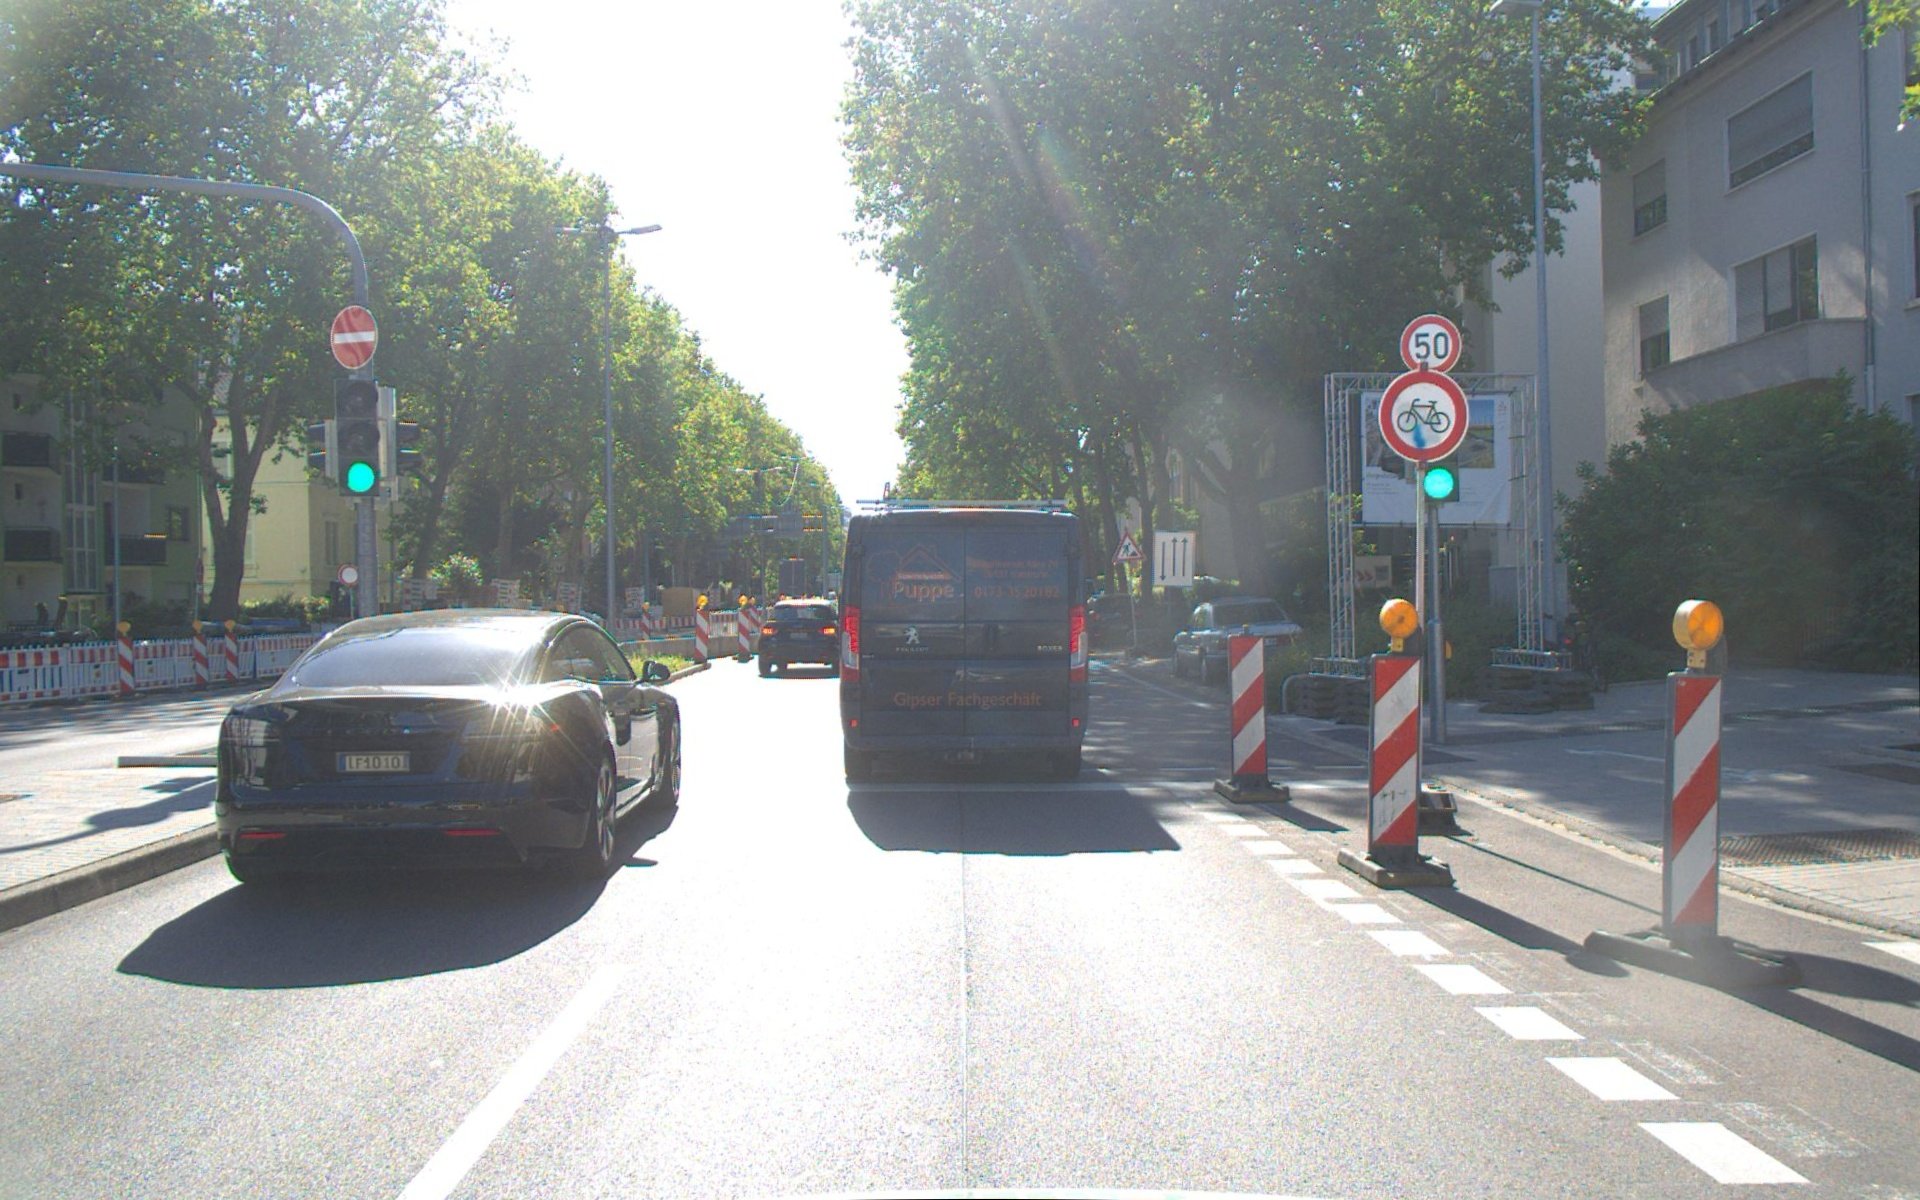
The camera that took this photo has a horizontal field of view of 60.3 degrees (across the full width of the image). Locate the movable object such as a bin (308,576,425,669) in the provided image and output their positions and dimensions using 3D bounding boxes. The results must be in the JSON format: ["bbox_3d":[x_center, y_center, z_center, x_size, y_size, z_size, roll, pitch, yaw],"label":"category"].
[{"bbox_3d":[-18.686,0.678,52.333,2.104,2.753,5.349,-1,0,-5],"label":"movable object such as a bin"}]

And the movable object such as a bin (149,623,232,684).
[{"bbox_3d":[-18.048,1.252,38.812,1.381,1.361,1.157,-1,0,0],"label":"movable object such as a bin"}]

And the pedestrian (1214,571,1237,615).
[{"bbox_3d":[10.173,-0.272,63.453,0.692,1.677,0.674,1,2,-5],"label":"pedestrian"}]

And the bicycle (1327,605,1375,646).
[{"bbox_3d":[9.696,0.624,41.056,0.766,0.983,1.823,-1,0,0],"label":"bicycle"}]

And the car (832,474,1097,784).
[{"bbox_3d":[0.018,0.199,14.827,2.052,2.396,3.932,0,1,-1],"label":"car"}]

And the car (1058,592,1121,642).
[{"bbox_3d":[4.185,0.543,53.938,1.624,1.567,4.127,0,0,-2],"label":"car"}]

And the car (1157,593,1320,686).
[{"bbox_3d":[4.889,0.645,29.738,1.815,1.505,4.939,-1,0,-3],"label":"car"}]

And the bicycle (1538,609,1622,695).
[{"bbox_3d":[7.945,0.636,21.131,0.577,1.022,2.126,-1,0,32],"label":"bicycle"}]

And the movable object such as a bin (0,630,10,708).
[{"bbox_3d":[-18.009,1.268,29.466,1.091,1.412,1.855,-1,0,0],"label":"movable object such as a bin"}]

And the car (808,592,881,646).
[{"bbox_3d":[-3.353,0.547,48.781,1.872,1.469,4.601,-2,0,-1],"label":"car"}]

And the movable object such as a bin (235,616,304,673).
[{"bbox_3d":[-18.393,1.170,44.045,1.611,1.447,1.251,-1,0,-28],"label":"movable object such as a bin"}]

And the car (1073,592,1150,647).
[{"bbox_3d":[4.429,0.560,48.955,1.728,1.534,4.249,-1,0,-2],"label":"car"}]

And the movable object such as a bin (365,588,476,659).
[{"bbox_3d":[-18.985,0.791,58.505,1.952,2.318,5.599,-2,0,1],"label":"movable object such as a bin"}]

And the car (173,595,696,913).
[{"bbox_3d":[-2.836,0.715,10.105,1.886,1.436,4.623,-1,0,-3],"label":"car"}]

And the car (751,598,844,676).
[{"bbox_3d":[-3.226,0.703,33.349,1.711,1.432,3.997,0,1,-4],"label":"car"}]

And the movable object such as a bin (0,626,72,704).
[{"bbox_3d":[-18.176,1.234,31.797,1.190,1.412,1.855,-1,0,0],"label":"movable object such as a bin"}]

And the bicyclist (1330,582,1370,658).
[{"bbox_3d":[9.685,0.497,41.098,0.709,1.852,1.070,-1,0,-1],"label":"bicyclist"}]

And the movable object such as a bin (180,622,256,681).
[{"bbox_3d":[-17.894,1.236,39.904,1.381,1.361,0.936,-1,0,0],"label":"movable object such as a bin"}]

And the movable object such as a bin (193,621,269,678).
[{"bbox_3d":[-18.038,1.221,40.933,1.381,1.361,1.068,-1,0,0],"label":"movable object such as a bin"}]

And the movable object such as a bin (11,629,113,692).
[{"bbox_3d":[-18.193,1.211,33.535,1.365,1.224,1.241,-1,0,1],"label":"movable object such as a bin"}]

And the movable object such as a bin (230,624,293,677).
[{"bbox_3d":[-17.828,1.278,42.243,0.960,1.293,1.540,-1,0,-2],"label":"movable object such as a bin"}]

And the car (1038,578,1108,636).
[{"bbox_3d":[4.091,0.241,60.627,1.985,1.980,5.271,-1,0,-2],"label":"car"}]
